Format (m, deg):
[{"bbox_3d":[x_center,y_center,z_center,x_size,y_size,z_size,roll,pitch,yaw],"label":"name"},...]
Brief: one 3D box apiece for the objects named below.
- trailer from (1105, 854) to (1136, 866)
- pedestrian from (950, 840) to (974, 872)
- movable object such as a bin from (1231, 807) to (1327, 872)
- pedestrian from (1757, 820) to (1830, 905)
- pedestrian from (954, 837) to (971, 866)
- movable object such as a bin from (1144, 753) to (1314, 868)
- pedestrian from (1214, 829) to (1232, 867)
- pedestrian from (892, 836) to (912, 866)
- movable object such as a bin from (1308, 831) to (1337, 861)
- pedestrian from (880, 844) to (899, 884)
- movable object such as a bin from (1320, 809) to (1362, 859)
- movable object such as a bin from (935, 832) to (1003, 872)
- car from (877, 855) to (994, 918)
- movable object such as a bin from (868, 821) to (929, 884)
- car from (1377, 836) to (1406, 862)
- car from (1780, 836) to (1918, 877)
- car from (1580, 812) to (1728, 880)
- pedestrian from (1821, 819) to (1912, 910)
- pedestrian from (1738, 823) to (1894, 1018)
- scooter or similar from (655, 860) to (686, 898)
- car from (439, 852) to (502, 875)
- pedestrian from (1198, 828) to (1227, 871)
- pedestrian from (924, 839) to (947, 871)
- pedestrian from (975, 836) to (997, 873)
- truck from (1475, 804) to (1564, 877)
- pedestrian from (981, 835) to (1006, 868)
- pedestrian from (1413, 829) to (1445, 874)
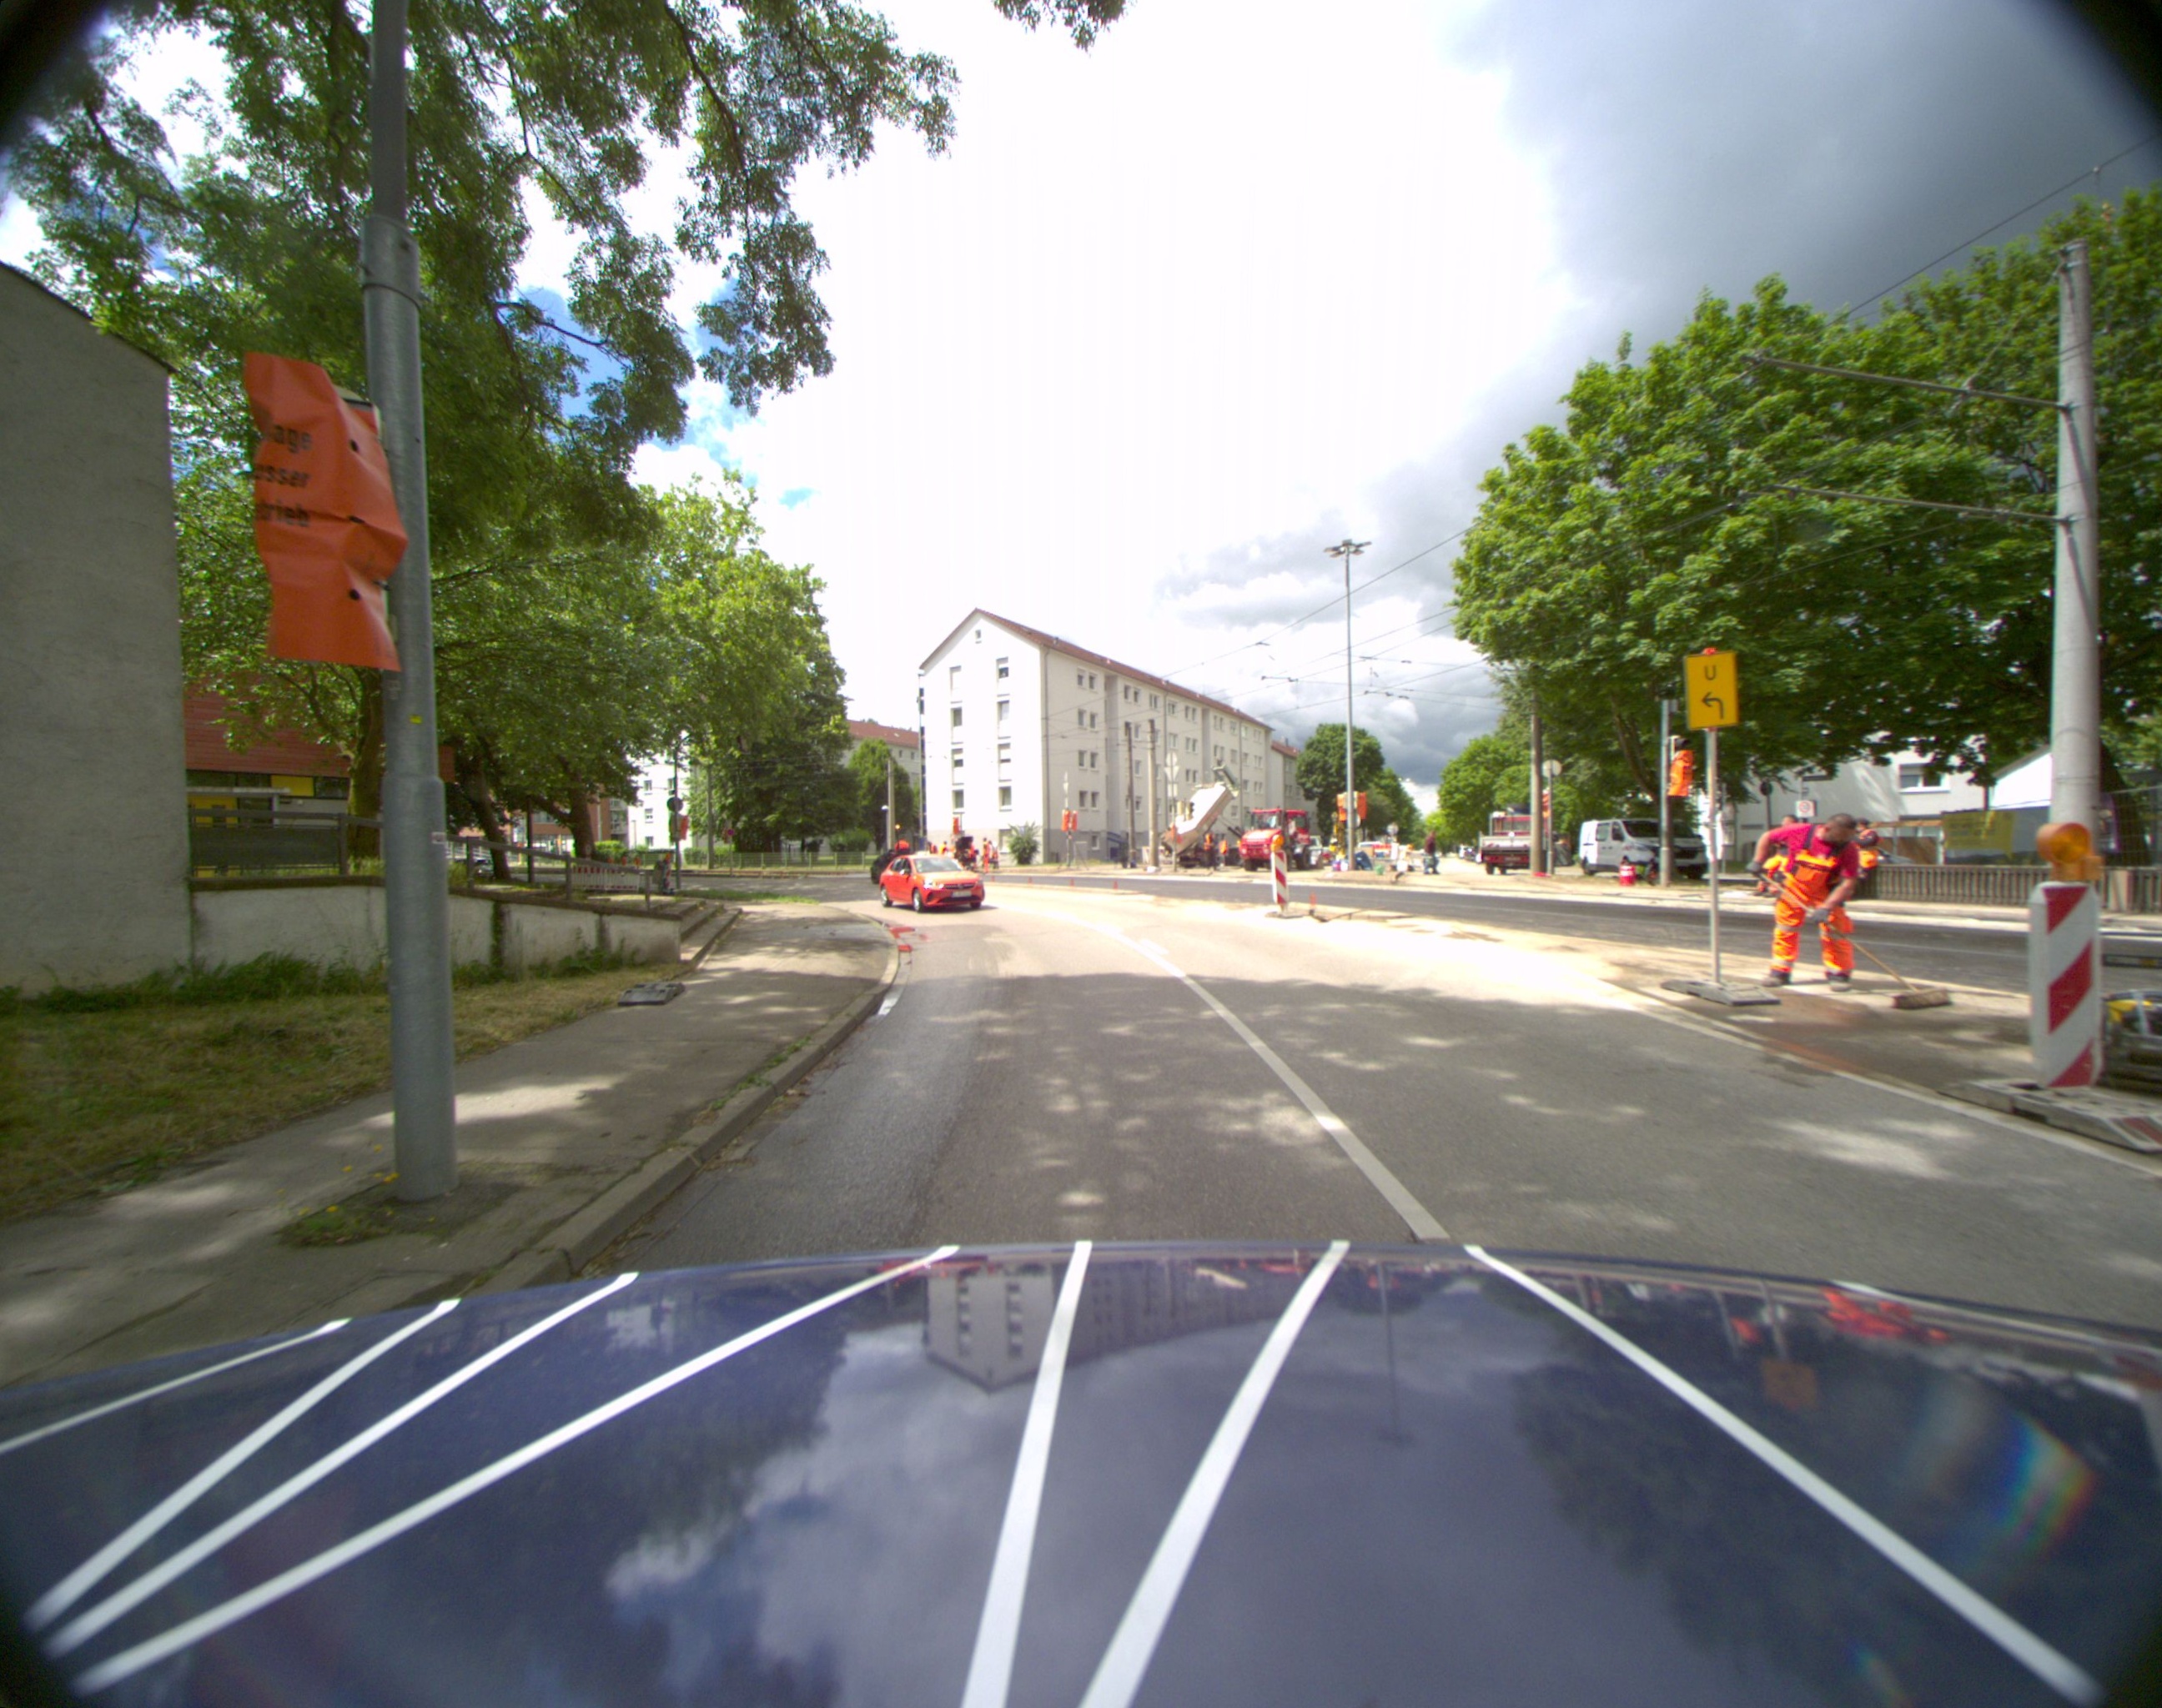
[{"bbox_3d":[2.027,0.302,39.428,0.799,0.612,1.593,0,0,-34],"label":"trailer"},{"bbox_3d":[-6.482,0.093,41.453,0.916,1.706,0.861,-1,2,43],"label":"pedestrian"},{"bbox_3d":[8.879,-0.679,33.692,2.110,2.654,5.598,0,2,37],"label":"movable object such as a bin"},{"bbox_3d":[13.258,0.149,14.168,0.796,1.532,0.763,-1,1,26],"label":"pedestrian"},{"bbox_3d":[-7.163,-0.155,45.831,0.881,1.674,0.666,-2,2,-15],"label":"pedestrian"},{"bbox_3d":[7.810,-2.111,39.518,9.050,5.453,2.814,-1,1,-30],"label":"movable object such as a bin"},{"bbox_3d":[6.699,-0.282,35.882,0.611,1.778,0.583,-2,0,35],"label":"pedestrian"},{"bbox_3d":[-7.463,-0.131,31.646,0.615,1.209,0.552,0,1,42],"label":"pedestrian"},{"bbox_3d":[20.601,-0.664,64.697,1.995,2.395,4.006,0,0,23],"label":"movable object such as a bin"},{"bbox_3d":[-8.141,0.410,32.314,0.557,1.673,0.471,0,4,35],"label":"pedestrian"},{"bbox_3d":[24.926,-1.866,72.701,2.819,4.509,6.221,0,0,28],"label":"movable object such as a bin"},{"bbox_3d":[-5.830,-0.112,39.459,2.959,2.002,2.004,0,1,41],"label":"movable object such as a bin"},{"bbox_3d":[-3.977,0.780,20.288,1.773,1.425,3.829,-4,2,-32],"label":"car"},{"bbox_3d":[-7.797,-0.056,32.409,2.356,2.579,1.323,0,2,43],"label":"movable object such as a bin"},{"bbox_3d":[25.525,-0.417,62.364,1.995,2.002,5.918,0,0,24],"label":"car"},{"bbox_3d":[28.200,0.096,28.013,3.196,1.446,1.566,0,1,18],"label":"car"},{"bbox_3d":[17.681,-0.247,23.804,1.996,1.876,5.257,-1,1,17],"label":"car"},{"bbox_3d":[13.610,0.174,13.204,0.839,1.524,0.909,-1,1,26],"label":"pedestrian"},{"bbox_3d":[6.359,0.533,6.602,0.898,1.542,0.766,-2,1,45],"label":"pedestrian"},{"bbox_3d":[-13.848,0.830,25.634,0.567,1.225,1.191,-2,1,-45],"label":"scooter or similar"},{"bbox_3d":[-36.937,0.562,45.973,3.372,1.311,1.538,-1,1,24],"label":"car"},{"bbox_3d":[5.779,-0.198,33.356,0.797,1.822,0.969,-3,3,-34],"label":"pedestrian"},{"bbox_3d":[-7.965,0.055,41.522,0.916,1.706,0.755,-1,2,37],"label":"pedestrian"},{"bbox_3d":[-4.857,0.021,38.917,0.767,1.829,0.785,0,1,29],"label":"pedestrian"},{"bbox_3d":[17.246,-0.516,29.720,2.412,2.553,5.594,0,1,36],"label":"truck"},{"bbox_3d":[-4.823,-0.133,42.030,0.871,1.813,1.098,0,1,31],"label":"pedestrian"},{"bbox_3d":[12.960,-0.085,28.257,0.872,1.650,0.930,-1,1,37],"label":"pedestrian"}]
